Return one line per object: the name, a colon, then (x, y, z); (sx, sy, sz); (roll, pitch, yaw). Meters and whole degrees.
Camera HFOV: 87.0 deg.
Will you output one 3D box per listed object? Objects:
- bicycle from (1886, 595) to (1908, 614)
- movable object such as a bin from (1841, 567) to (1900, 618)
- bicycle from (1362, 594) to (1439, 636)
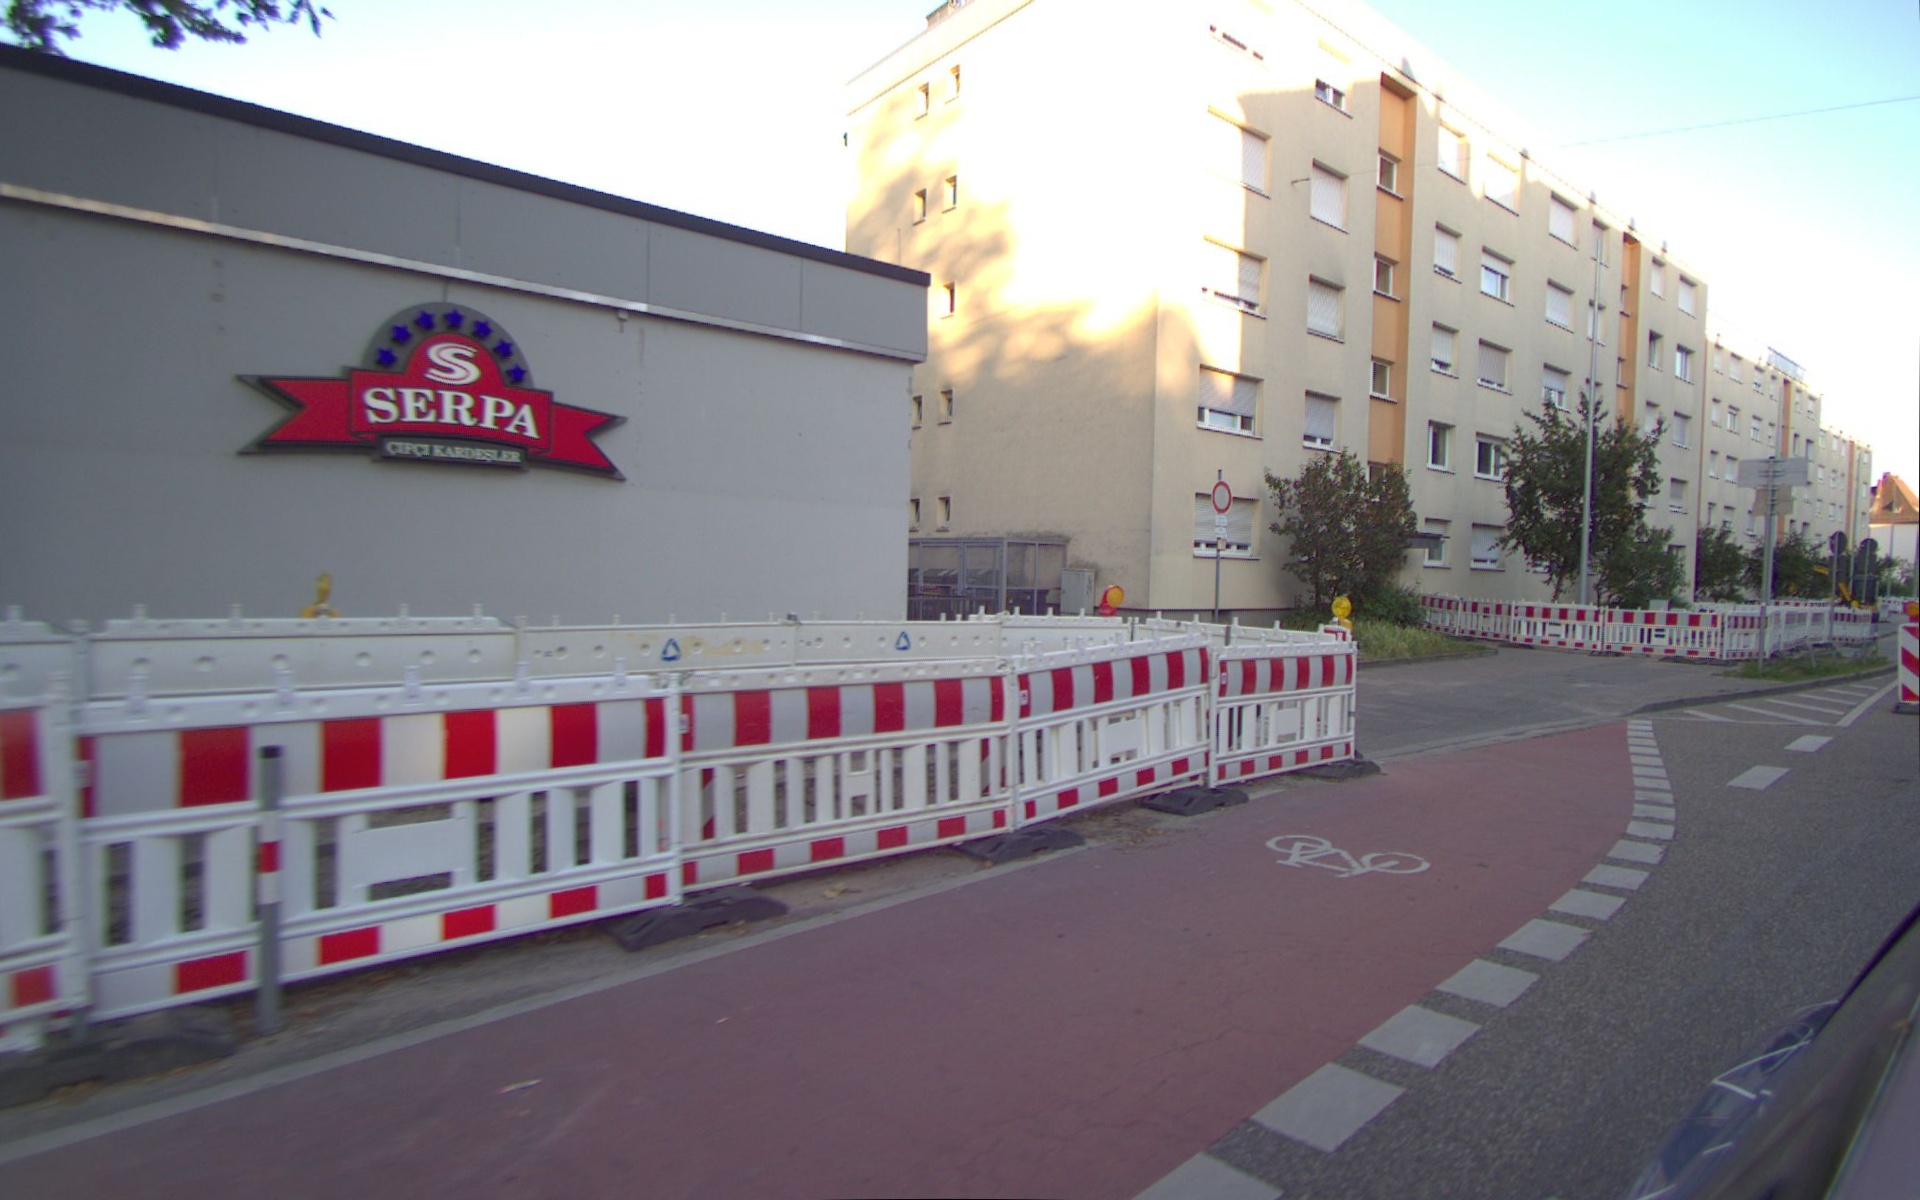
bicycle: (60.840, 0.292, 65.732); (0.552, 1.186, 1.799); (2, 2, 27)
movable object such as a bin: (50.622, -0.456, 56.258); (2.839, 2.726, 1.939); (0, 2, -38)
bicycle: (10.650, 0.370, 24.477); (1.776, 0.980, 0.547); (1, 1, -19)
